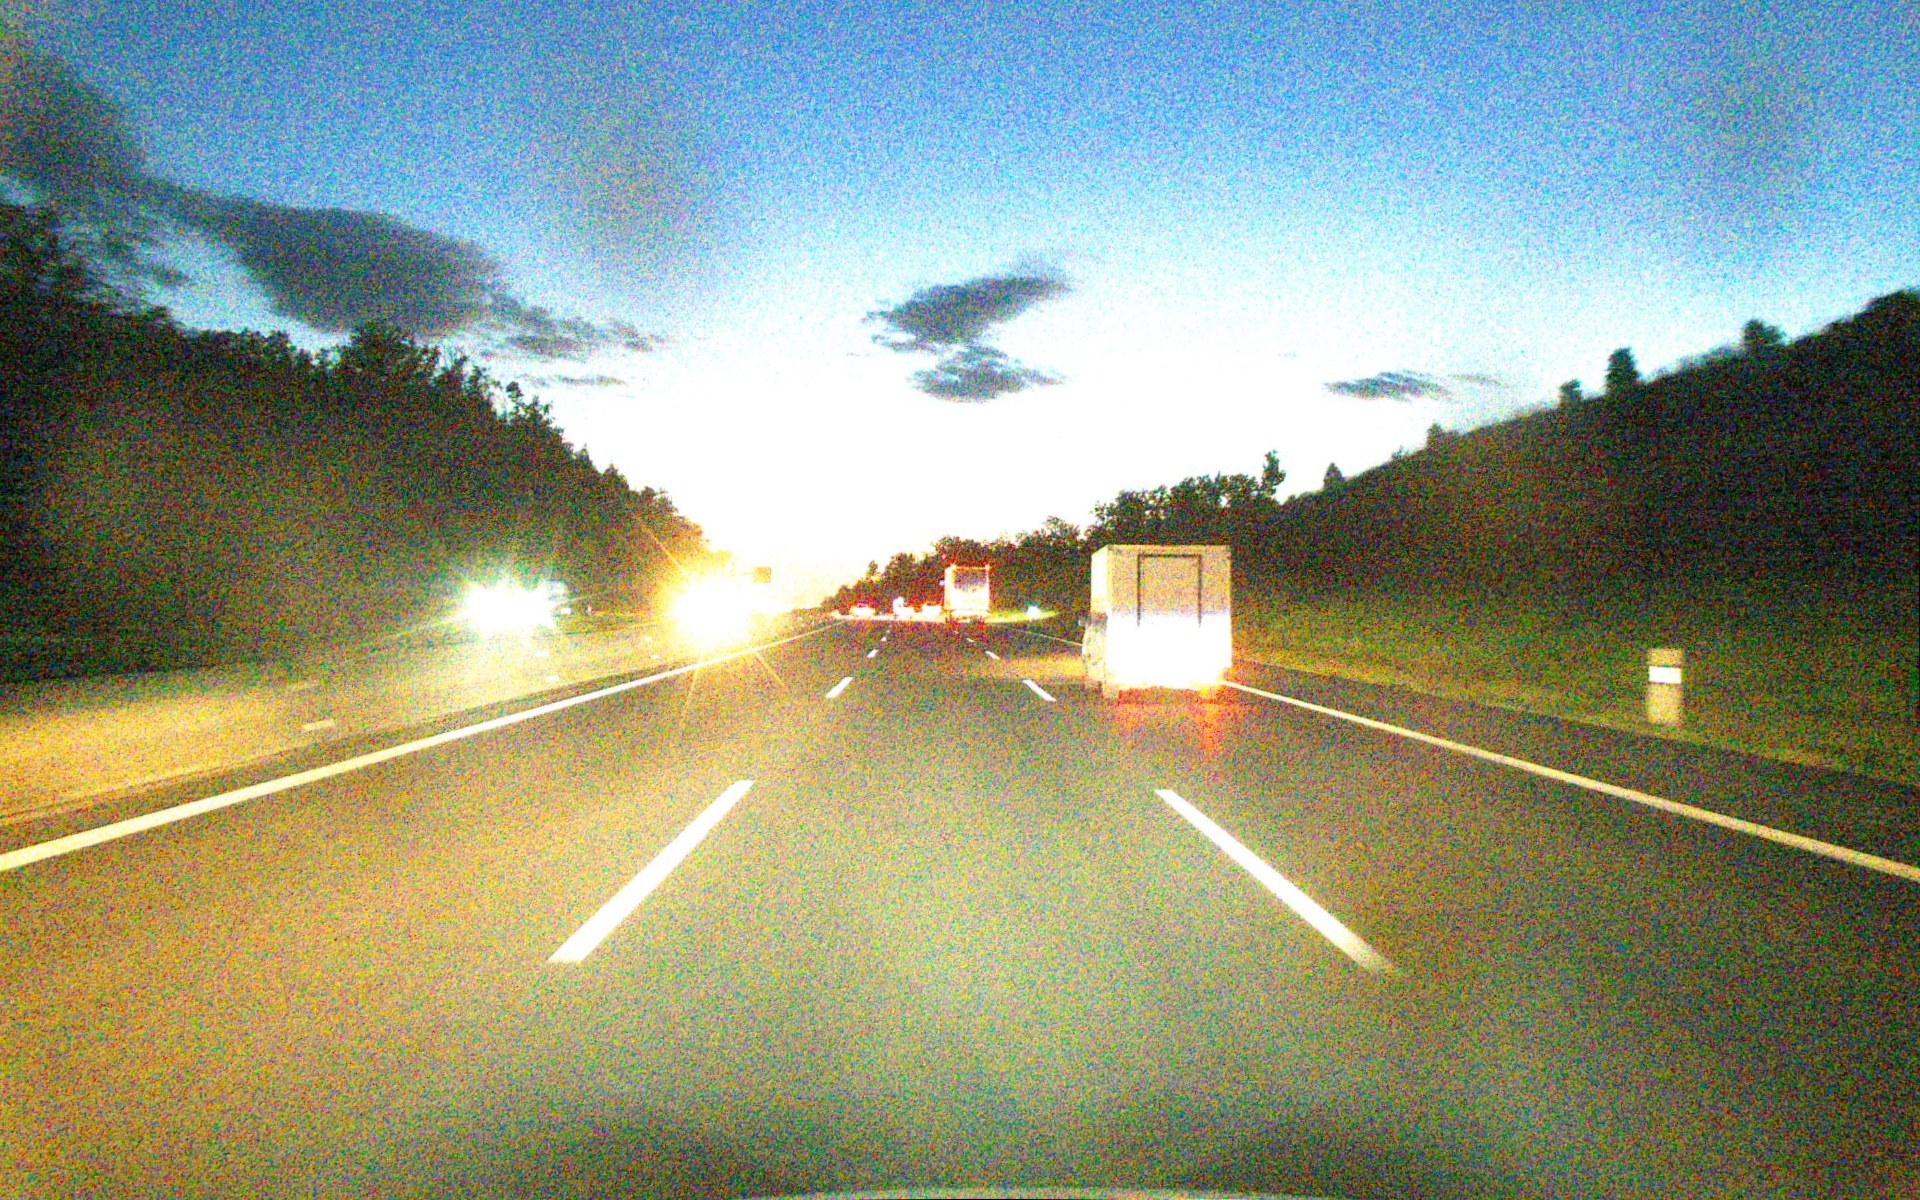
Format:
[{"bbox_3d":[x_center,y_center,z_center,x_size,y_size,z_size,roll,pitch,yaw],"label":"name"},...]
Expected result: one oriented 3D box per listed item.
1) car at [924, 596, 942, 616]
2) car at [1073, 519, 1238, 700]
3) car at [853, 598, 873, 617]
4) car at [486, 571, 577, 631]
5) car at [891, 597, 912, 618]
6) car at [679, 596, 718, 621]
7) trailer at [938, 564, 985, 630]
[{"bbox_3d":[-3.026,0.670,183.041,1.953,2.154,3.999,1,-2,-1],"label":"car"},{"bbox_3d":[3.130,0.152,27.648,1.991,2.693,5.723,1,0,-1],"label":"car"},{"bbox_3d":[-9.919,0.811,169.680,1.954,1.825,3.996,1,-2,-4],"label":"car"},{"bbox_3d":[-15.991,0.044,62.068,2.199,2.138,5.711,1,0,-3],"label":"car"},{"bbox_3d":[-5.659,0.733,159.802,1.954,1.825,3.997,1,-2,-3],"label":"car"},{"bbox_3d":[-18.472,0.574,116.875,2.199,1.697,4.887,1,0,-3],"label":"car"},{"bbox_3d":[-0.017,-0.024,122.425,2.772,4.331,17.039,1,-2,-2],"label":"trailer"}]
